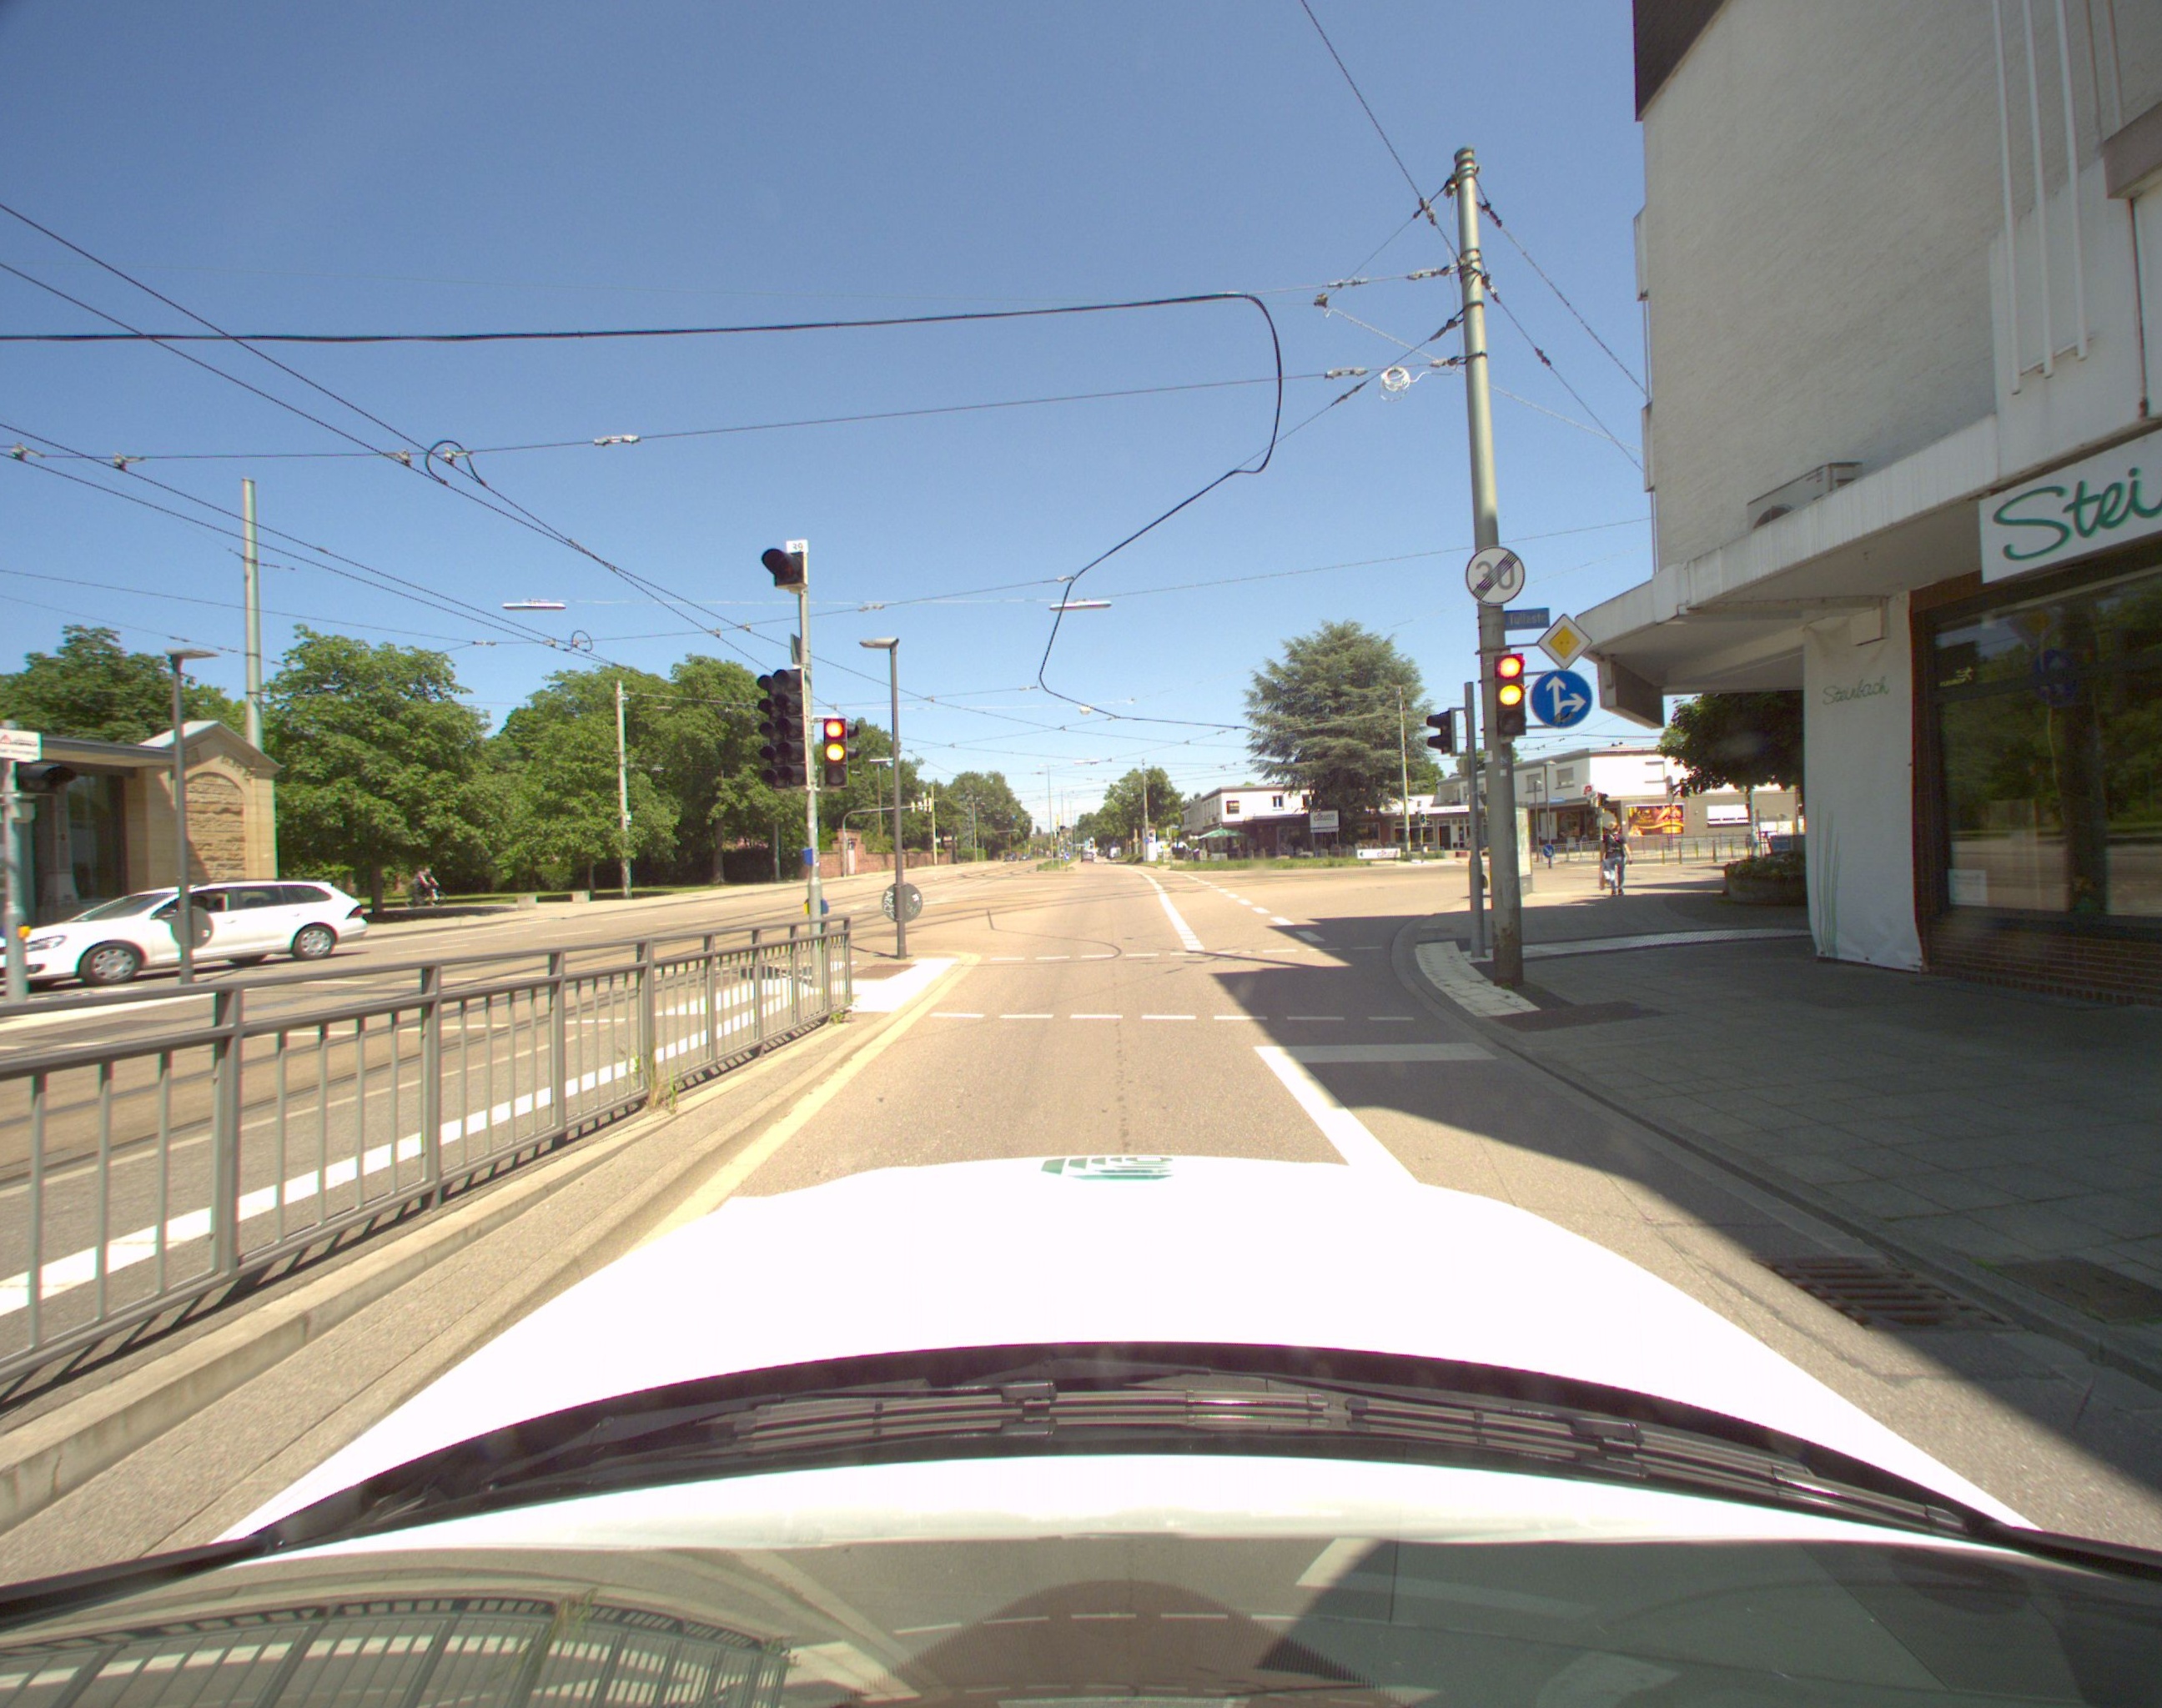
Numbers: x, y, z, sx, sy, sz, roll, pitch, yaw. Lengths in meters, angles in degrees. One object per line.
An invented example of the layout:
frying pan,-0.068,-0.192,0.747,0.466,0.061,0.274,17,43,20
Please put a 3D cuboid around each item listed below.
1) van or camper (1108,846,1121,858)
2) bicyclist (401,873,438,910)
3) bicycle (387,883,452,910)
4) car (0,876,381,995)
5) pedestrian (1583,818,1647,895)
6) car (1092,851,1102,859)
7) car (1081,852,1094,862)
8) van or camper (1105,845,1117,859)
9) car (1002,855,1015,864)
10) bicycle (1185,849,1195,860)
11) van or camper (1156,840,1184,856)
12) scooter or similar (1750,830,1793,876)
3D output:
van or camper,5.380,-0.307,130.472,1.915,1.772,4.001,-2,0,2
bicyclist,-28.257,1.601,34.787,0.841,1.530,0.852,-2,0,-3
bicycle,-28.190,1.817,34.717,2.092,1.041,0.716,-2,0,-3
car,-14.807,1.211,13.578,1.805,1.489,4.514,-2,0,12
pedestrian,11.585,0.049,17.697,0.822,1.583,0.828,-4,0,7
car,3.191,0.152,159.099,1.663,1.435,3.478,-2,0,4
car,0.858,0.387,114.176,1.632,1.351,3.839,-2,0,-2
van or camper,5.608,-0.435,152.953,1.988,2.464,3.998,-2,0,-2
car,-13.530,0.938,152.670,1.813,1.603,4.522,-2,0,2
bicycle,11.316,0.027,84.414,1.028,1.014,2.643,-2,0,8
van or camper,15.650,-1.016,143.266,4.742,2.671,2.135,-2,0,-1
scooter or similar,18.737,-0.035,22.093,1.258,1.212,0.391,-2,0,-26
